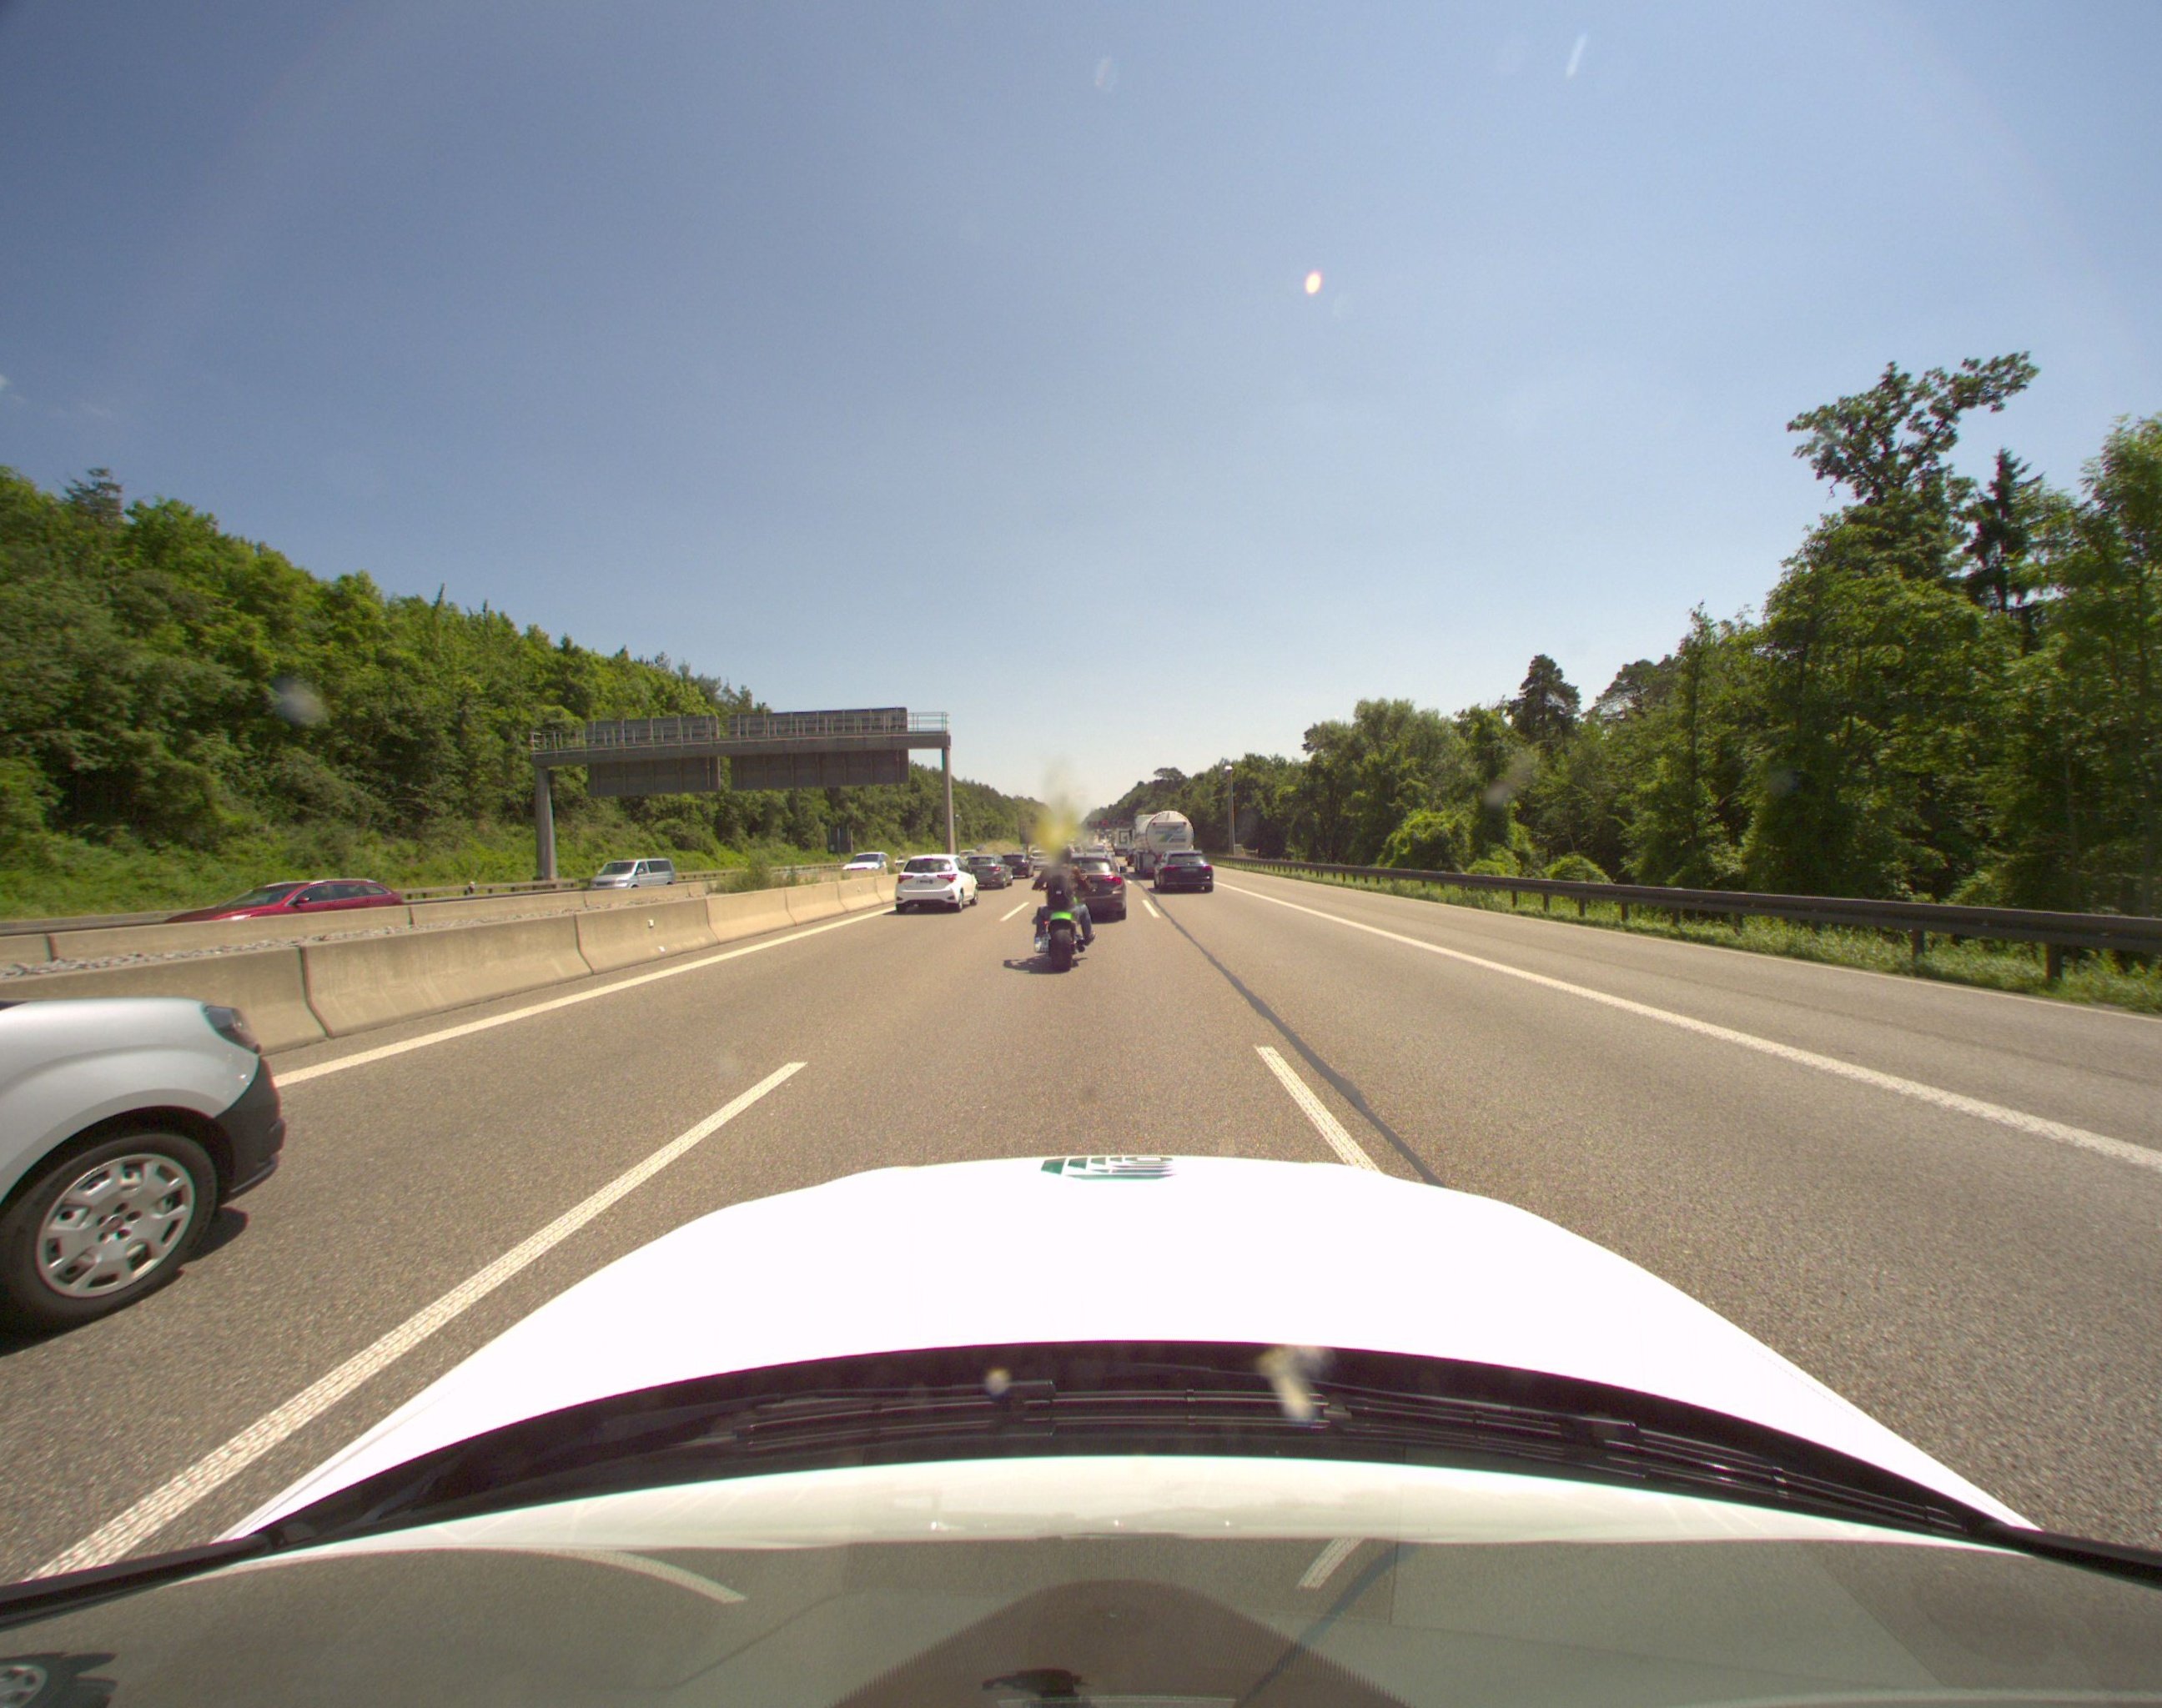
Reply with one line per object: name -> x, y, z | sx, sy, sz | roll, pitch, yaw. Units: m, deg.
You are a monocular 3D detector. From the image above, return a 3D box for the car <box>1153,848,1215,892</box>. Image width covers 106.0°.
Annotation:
car -> 3.653, 0.583, 29.627 | 1.785, 1.458, 4.625 | -1, -1, 1

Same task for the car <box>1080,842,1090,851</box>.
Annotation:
car -> 0.943, -1.661, 185.418 | 1.986, 2.013, 4.001 | -2, 0, 1

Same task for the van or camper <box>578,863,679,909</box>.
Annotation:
van or camper -> -21.318, 1.472, 38.619 | 1.986, 2.014, 4.682 | -1, -1, 2

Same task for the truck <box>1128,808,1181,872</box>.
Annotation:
truck -> 4.454, -0.785, 50.508 | 2.817, 3.671, 6.431 | -1, -1, 1

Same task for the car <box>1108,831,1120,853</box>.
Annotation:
car -> 6.333, -2.247, 157.227 | 2.159, 3.893, 9.332 | -1, -1, 2

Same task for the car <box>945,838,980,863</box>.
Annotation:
car -> -9.760, -0.253, 67.464 | 1.985, 2.014, 4.351 | -1, -1, 4

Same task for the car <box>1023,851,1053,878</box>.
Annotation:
car -> -3.218, 0.802, 62.015 | 1.986, 2.014, 4.000 | -1, -1, 1

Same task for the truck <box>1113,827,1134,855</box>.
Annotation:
truck -> 6.340, -1.882, 119.730 | 2.841, 3.821, 7.195 | -1, -1, 4

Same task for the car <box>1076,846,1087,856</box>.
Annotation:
car -> 0.073, -0.466, 134.806 | 1.654, 1.599, 4.002 | -1, -1, 2

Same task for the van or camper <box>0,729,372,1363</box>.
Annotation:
van or camper -> -4.179, 0.586, 1.358 | 1.846, 1.880, 4.564 | -1, 0, 2

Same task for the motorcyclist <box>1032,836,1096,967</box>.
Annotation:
motorcyclist -> -0.214, 0.621, 11.069 | 0.796, 1.688, 1.017 | -1, -1, 1

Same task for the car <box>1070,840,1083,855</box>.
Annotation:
car -> -0.573, -0.874, 116.213 | 1.654, 1.978, 4.002 | -1, -1, 2

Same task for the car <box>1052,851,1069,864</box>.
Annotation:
car -> -2.429, 0.425, 96.182 | 1.757, 1.442, 4.002 | -1, 0, 2

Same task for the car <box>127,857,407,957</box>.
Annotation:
car -> -18.326, 1.116, 18.703 | 1.986, 2.014, 4.285 | -1, -1, 2

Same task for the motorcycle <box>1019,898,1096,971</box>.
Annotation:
motorcycle -> -0.280, 1.070, 11.362 | 0.932, 0.793, 2.299 | -1, 0, 1

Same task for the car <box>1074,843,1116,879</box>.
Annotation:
car -> 0.674, 0.367, 40.873 | 1.987, 1.711, 4.000 | -1, -1, 1

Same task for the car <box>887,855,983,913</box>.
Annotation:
car -> -3.836, 0.771, 22.061 | 1.769, 1.411, 4.001 | -1, -1, 1

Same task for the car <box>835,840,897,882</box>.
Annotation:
car -> -10.991, 0.375, 41.855 | 1.987, 2.014, 4.193 | -1, -1, 1

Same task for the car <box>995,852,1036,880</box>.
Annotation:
car -> -3.658, 0.666, 45.904 | 1.987, 1.464, 3.998 | -1, -1, -1

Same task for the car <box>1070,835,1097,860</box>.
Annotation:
car -> 0.195, -0.452, 61.571 | 1.987, 1.775, 4.000 | -1, -1, 1

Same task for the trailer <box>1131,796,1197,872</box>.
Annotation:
trailer -> 4.351, -0.873, 44.789 | 2.817, 3.671, 10.735 | -1, -1, 2

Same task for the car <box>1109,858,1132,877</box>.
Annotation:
car -> 3.291, 1.149, 68.150 | 1.769, 1.527, 4.001 | -1, -1, 1

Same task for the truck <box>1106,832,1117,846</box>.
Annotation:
truck -> 8.282, -3.995, 219.438 | 2.686, 3.405, 10.481 | -2, 0, 2

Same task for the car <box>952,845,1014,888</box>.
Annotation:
car -> -4.039, 0.532, 34.315 | 1.986, 1.684, 4.331 | -1, -1, 1

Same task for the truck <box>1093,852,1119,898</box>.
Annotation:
truck -> 2.564, 2.034, 85.288 | 2.380, 4.464, 10.869 | -1, 0, 1

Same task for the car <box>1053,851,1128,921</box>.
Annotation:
car -> 0.248, 0.674, 18.971 | 1.535, 1.450, 4.001 | -1, 0, 1
